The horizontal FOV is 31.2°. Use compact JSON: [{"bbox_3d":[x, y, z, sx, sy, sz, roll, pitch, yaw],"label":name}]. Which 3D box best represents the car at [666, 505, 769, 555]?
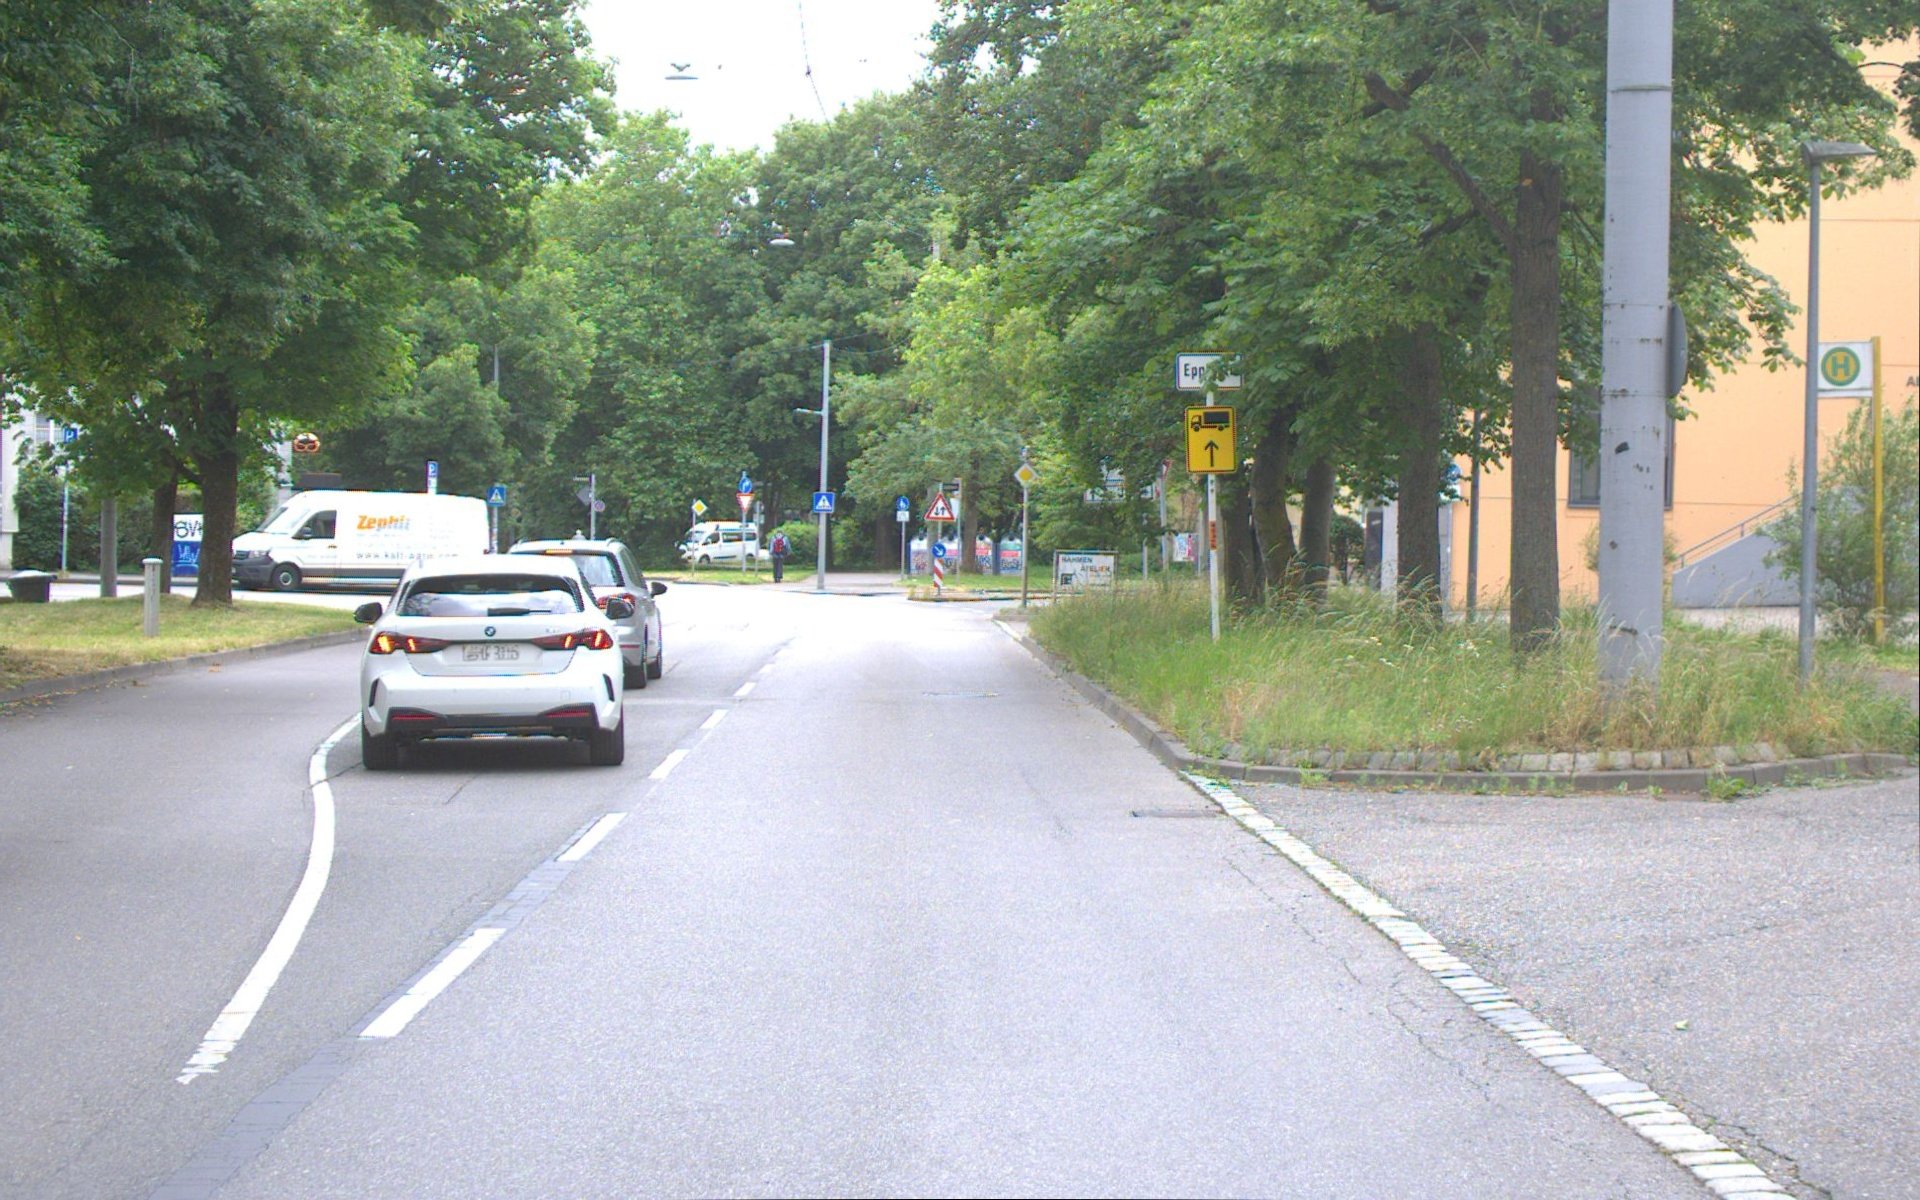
[{"bbox_3d":[-12.508,-3.588,177.404,2.135,2.289,5.373,5,2,38],"label":"car"}]

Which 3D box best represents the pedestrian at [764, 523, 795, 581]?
[{"bbox_3d":[-6.166,-1.648,117.406,0.923,1.865,1.019,-3,4,-4],"label":"pedestrian"}]

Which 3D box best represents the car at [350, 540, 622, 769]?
[{"bbox_3d":[-3.366,0.332,25.046,1.795,1.512,4.208,0,1,-6],"label":"car"}]

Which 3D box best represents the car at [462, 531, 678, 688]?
[{"bbox_3d":[-4.207,0.060,37.629,1.923,1.568,4.000,1,1,-1],"label":"car"}]

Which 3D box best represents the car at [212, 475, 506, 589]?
[{"bbox_3d":[-14.964,-1.678,85.859,6.959,2.513,2.084,1,3,-38],"label":"car"}]
